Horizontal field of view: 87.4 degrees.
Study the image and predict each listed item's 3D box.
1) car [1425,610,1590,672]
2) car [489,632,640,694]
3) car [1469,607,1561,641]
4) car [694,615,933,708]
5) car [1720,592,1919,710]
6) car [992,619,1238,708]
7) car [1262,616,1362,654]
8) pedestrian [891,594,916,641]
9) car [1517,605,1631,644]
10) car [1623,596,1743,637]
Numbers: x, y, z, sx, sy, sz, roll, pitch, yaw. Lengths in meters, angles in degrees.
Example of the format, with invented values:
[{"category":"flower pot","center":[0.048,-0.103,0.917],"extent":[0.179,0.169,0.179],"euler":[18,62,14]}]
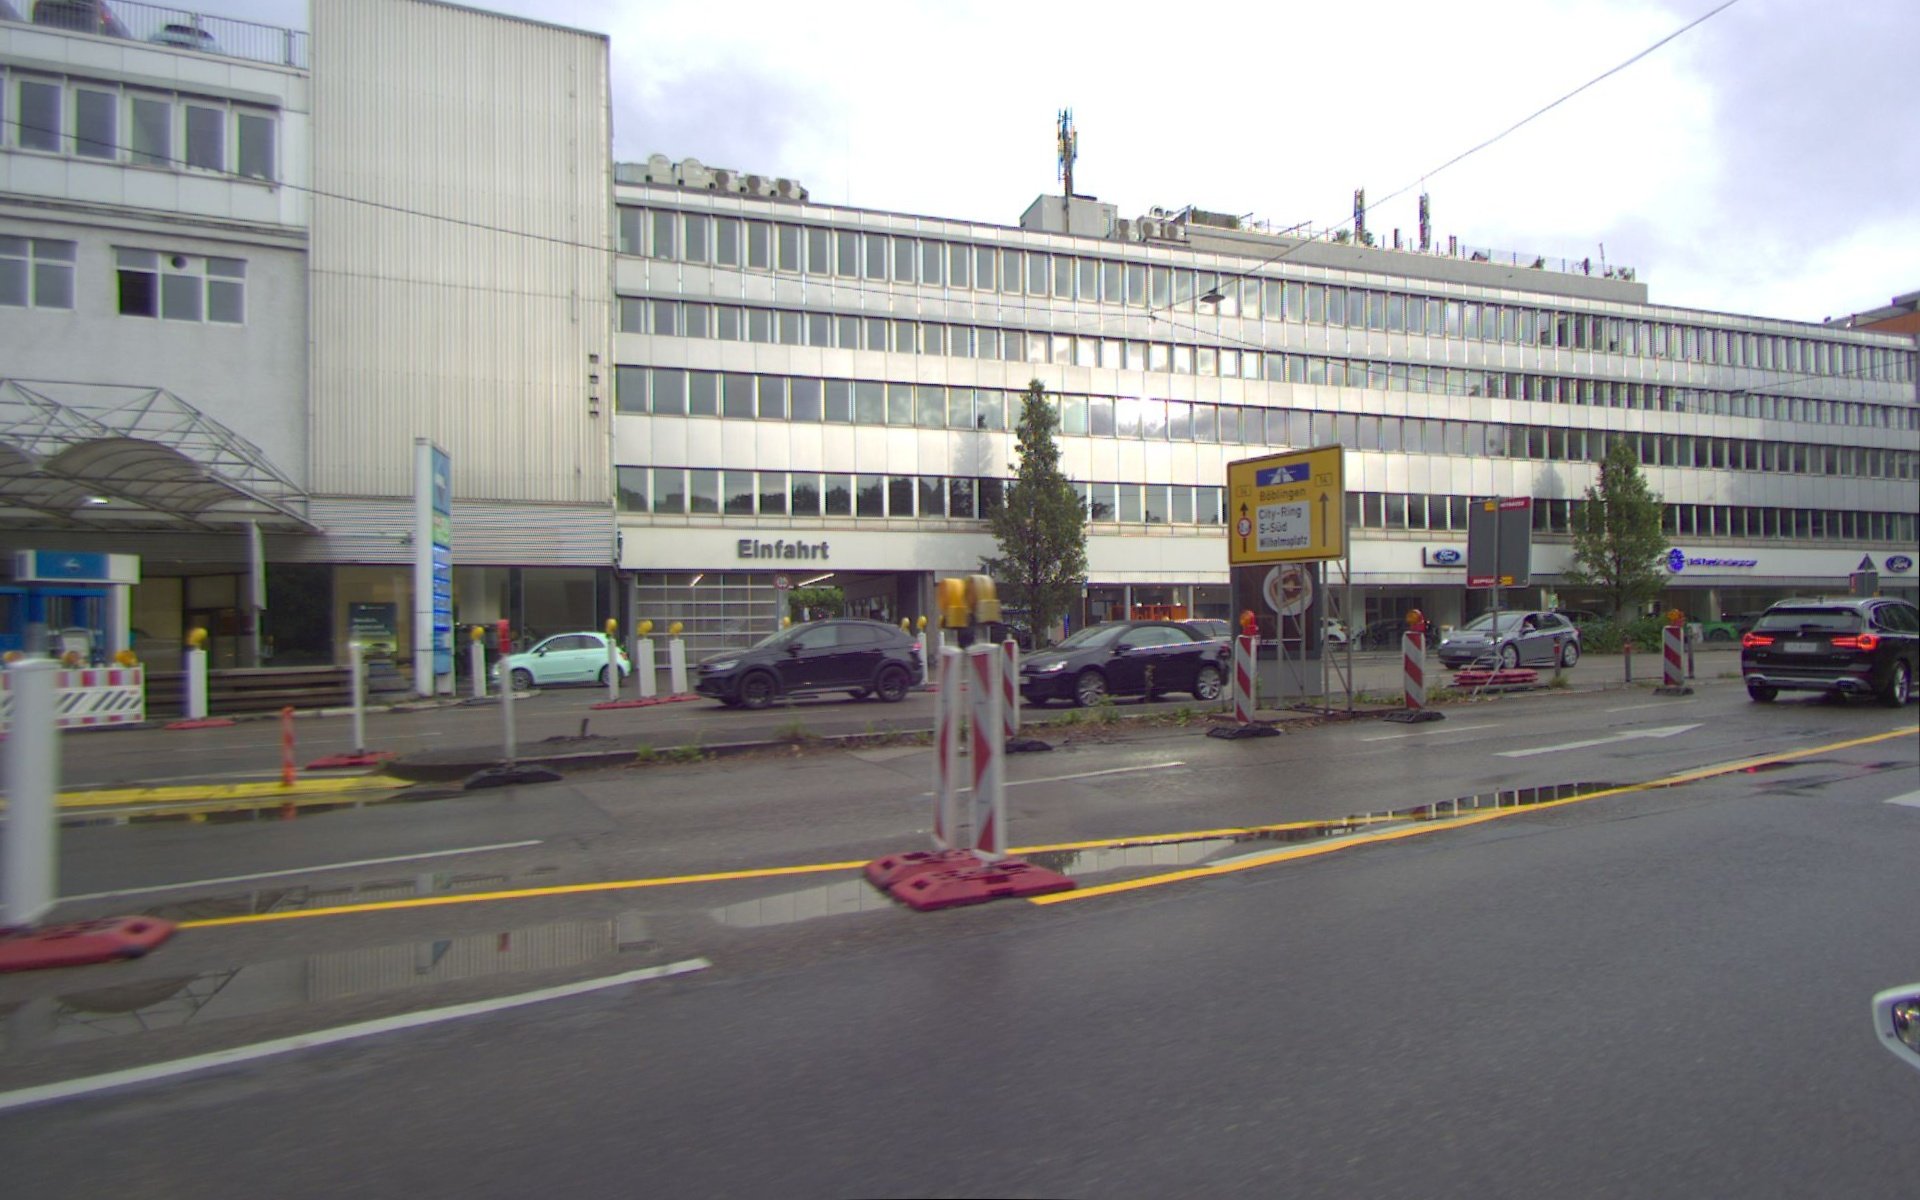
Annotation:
[{"category":"car","center":[14.898,1.083,27.301],"extent":[4.244,1.579,1.802],"euler":[0,-2,-26]},{"category":"car","center":[-10.697,1.687,27.254],"extent":[3.702,1.555,1.649],"euler":[0,-3,-23]},{"category":"car","center":[28.879,1.303,52.310],"extent":[3.935,1.594,1.994],"euler":[-4,-4,35]},{"category":"car","center":[-2.638,1.091,18.243],"extent":[3.951,1.533,1.745],"euler":[1,-3,-29]},{"category":"car","center":[14.578,0.712,16.284],"extent":[4.613,1.619,1.939],"euler":[-1,1,-29]},{"category":"car","center":[2.726,1.060,17.450],"extent":[4.067,1.372,1.681],"euler":[0,-3,-31]},{"category":"car","center":[17.067,1.702,48.721],"extent":[4.306,1.673,1.852],"euler":[-3,-3,28]},{"category":"pedestrian","center":[-2.188,0.684,38.710],"extent":[0.657,1.743,0.706],"euler":[-3,-3,28]},{"category":"car","center":[33.148,1.364,54.409],"extent":[4.892,1.922,2.000],"euler":[-3,-3,21]},{"category":"car","center":[40.011,0.959,55.772],"extent":[5.113,2.037,1.997],"euler":[-3,-3,29]}]
